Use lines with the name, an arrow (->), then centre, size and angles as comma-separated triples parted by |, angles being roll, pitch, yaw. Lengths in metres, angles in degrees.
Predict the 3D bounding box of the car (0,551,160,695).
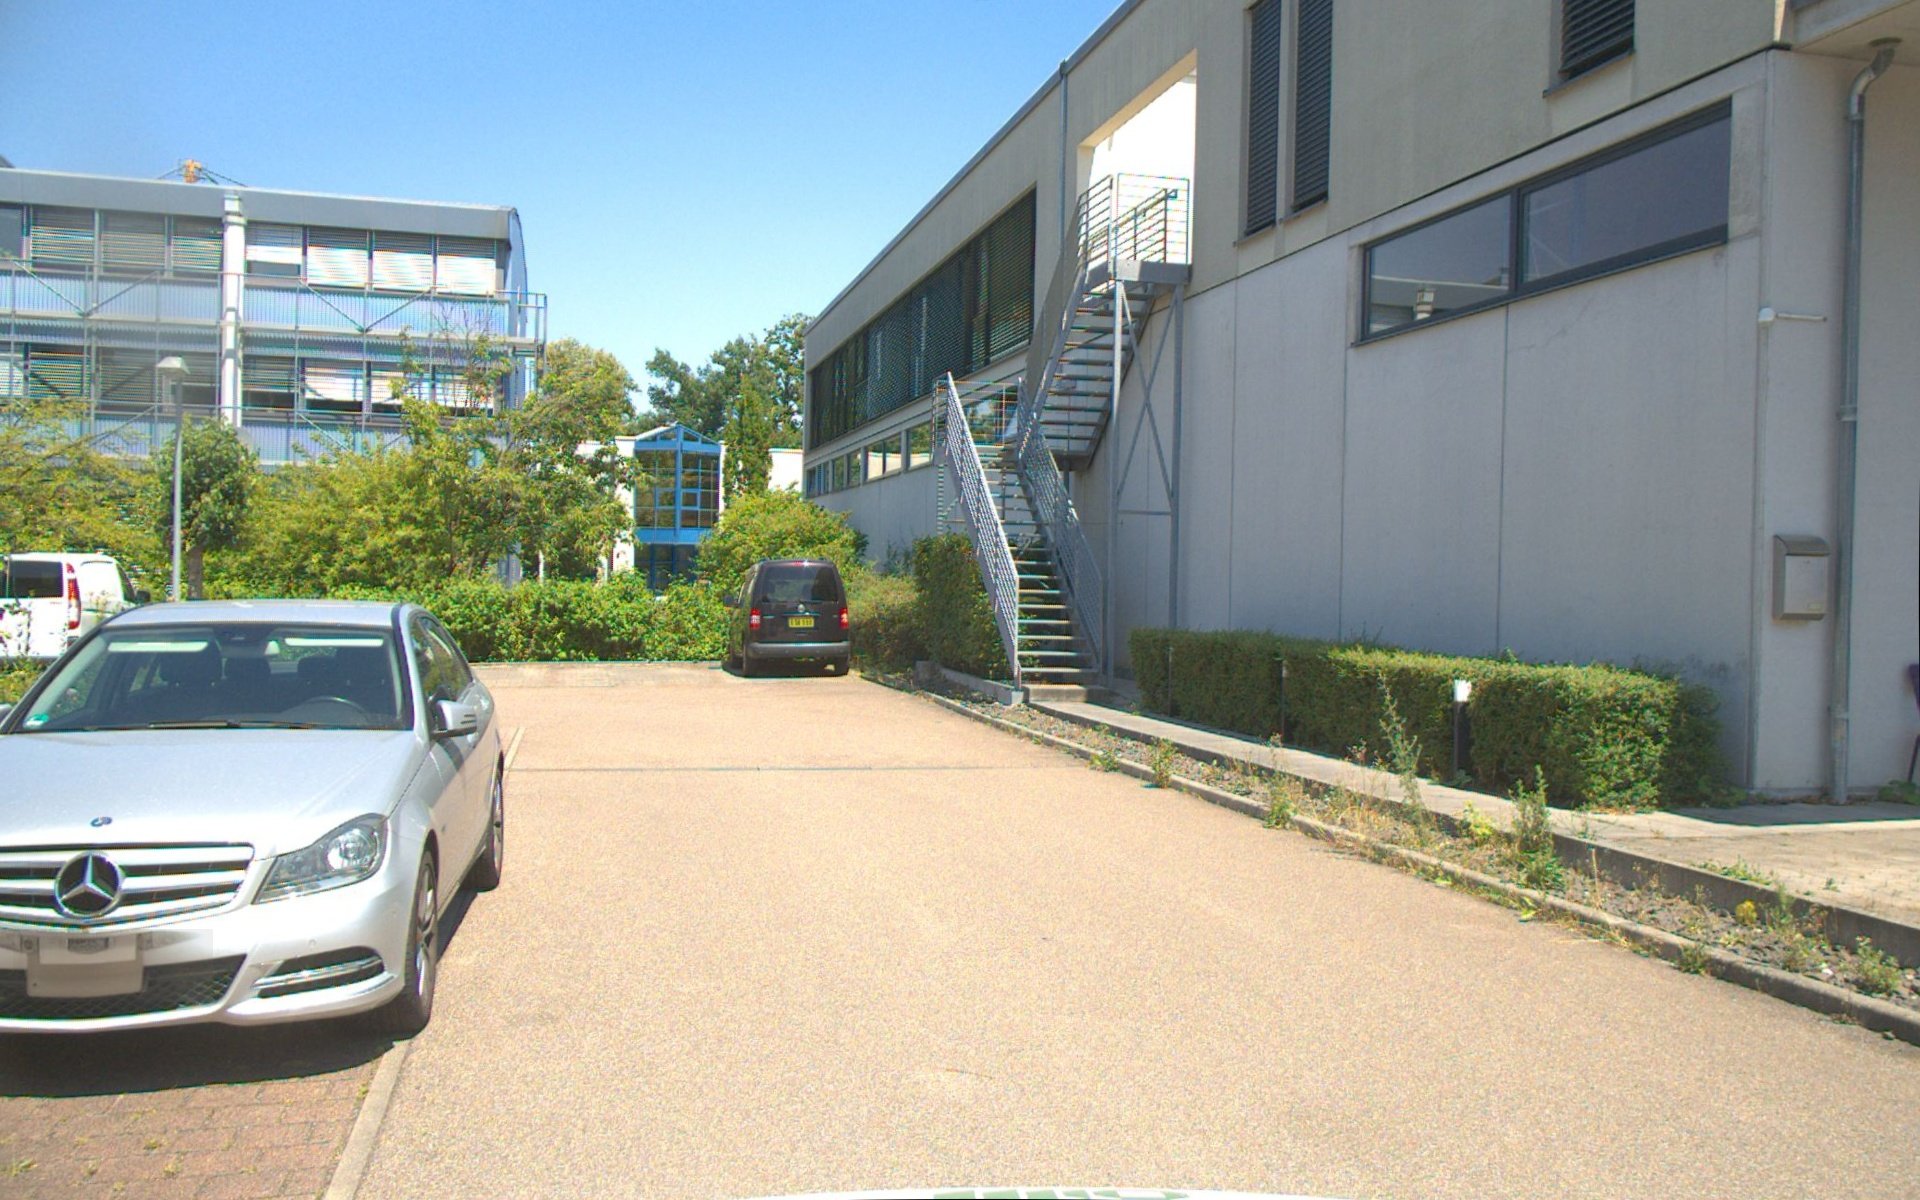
car -> -13.447, 0.249, 24.585 | 1.881, 1.938, 4.789 | 0, 2, -15

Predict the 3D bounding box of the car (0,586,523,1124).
car -> -2.790, 0.690, 6.647 | 1.698, 1.482, 4.137 | 0, 0, -11

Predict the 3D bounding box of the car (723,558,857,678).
car -> -2.934, 0.237, 27.922 | 1.714, 1.869, 3.986 | 0, 1, -14
